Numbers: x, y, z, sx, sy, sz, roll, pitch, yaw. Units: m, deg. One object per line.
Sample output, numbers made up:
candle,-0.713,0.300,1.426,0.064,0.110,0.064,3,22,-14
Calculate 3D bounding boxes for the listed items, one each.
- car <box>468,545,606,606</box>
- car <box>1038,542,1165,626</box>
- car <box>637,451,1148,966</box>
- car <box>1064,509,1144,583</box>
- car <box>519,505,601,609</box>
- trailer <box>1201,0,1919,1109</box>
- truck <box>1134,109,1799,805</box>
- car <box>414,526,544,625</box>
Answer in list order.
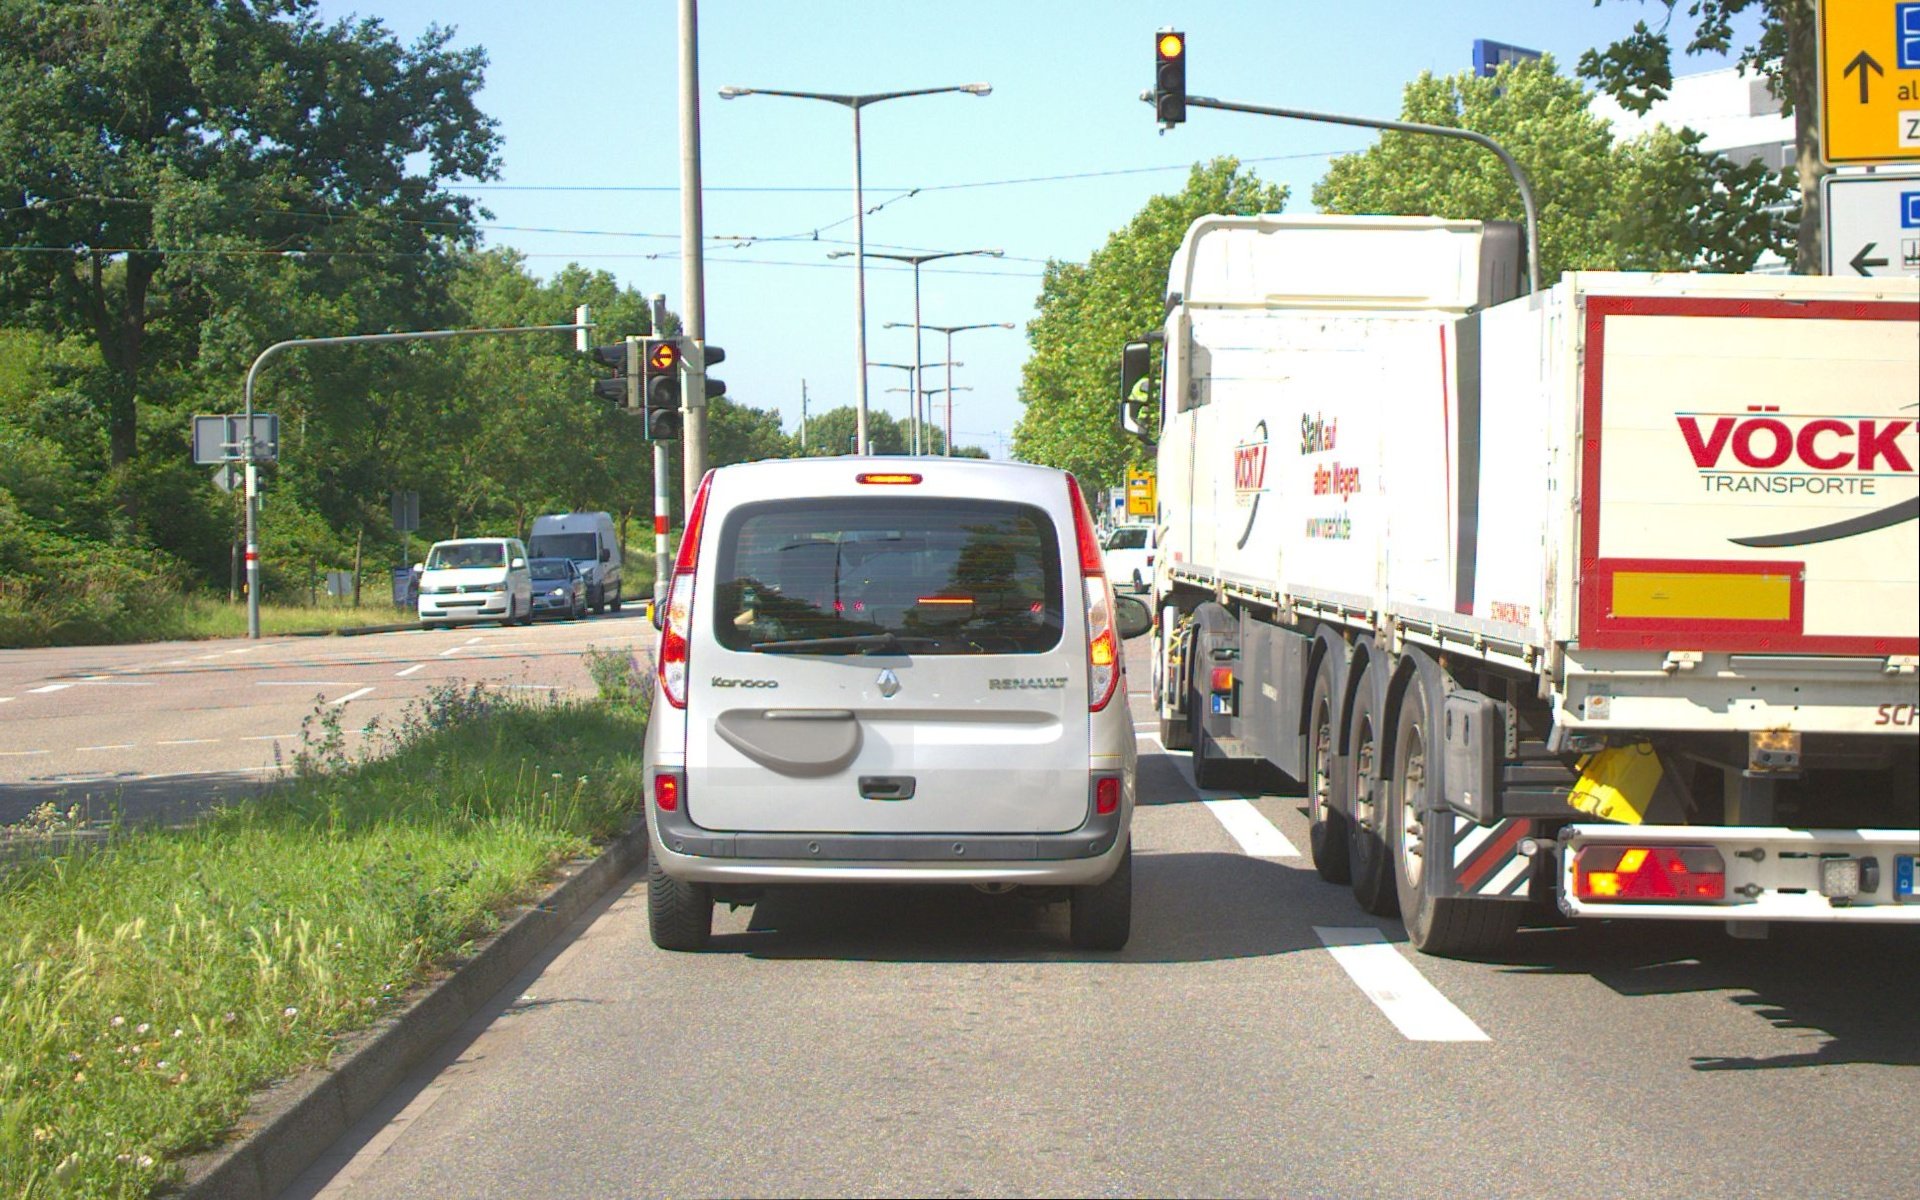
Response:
car,-10.020,-0.600,81.137,1.911,1.404,4.228,0,1,-27
car,2.789,-0.338,68.636,1.993,1.634,4.001,0,1,-5
car,-0.251,0.344,13.750,1.749,1.766,3.949,0,1,-1
car,3.950,-1.491,94.777,1.993,2.007,4.000,0,1,-1
car,-10.321,-1.109,88.933,2.058,2.605,5.871,0,1,-6
trailer,2.973,-0.657,14.837,3.016,3.728,12.240,0,1,0
truck,2.920,-0.819,22.268,3.071,3.745,7.477,0,1,-1
car,-9.944,-0.520,71.398,1.993,1.884,4.988,-3,1,-1
